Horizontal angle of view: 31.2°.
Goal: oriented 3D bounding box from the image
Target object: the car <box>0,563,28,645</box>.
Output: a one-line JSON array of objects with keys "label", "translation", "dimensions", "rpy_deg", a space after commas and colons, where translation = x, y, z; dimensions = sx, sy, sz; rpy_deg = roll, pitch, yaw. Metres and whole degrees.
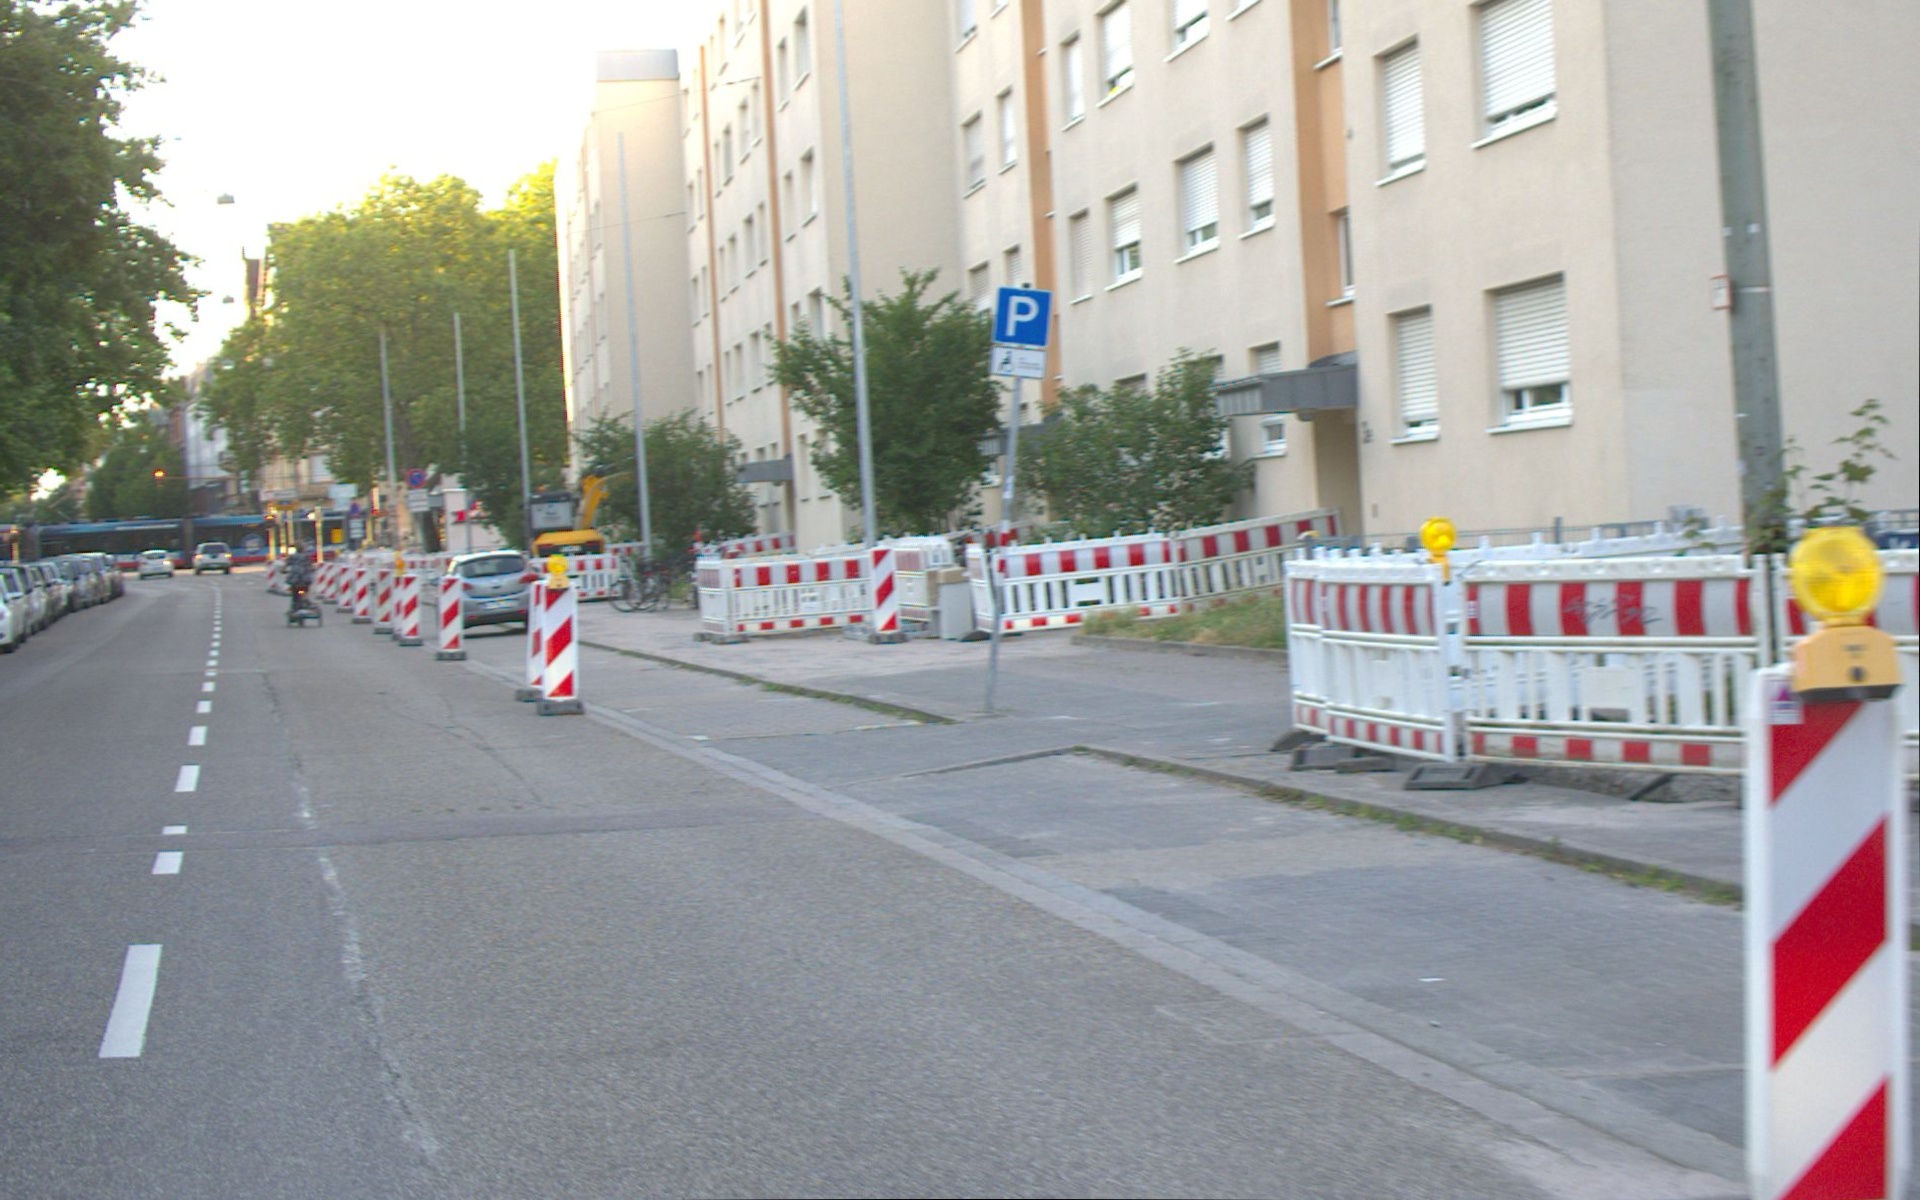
[{"label": "car", "translation": [-18.167, 0.126, 62.977], "dimensions": [1.756, 1.438, 3.455], "rpy_deg": [-6, 2, -11]}]

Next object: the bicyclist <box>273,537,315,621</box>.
[{"label": "bicyclist", "translation": [-14.563, -0.465, 75.181], "dimensions": [0.791, 1.794, 1.017], "rpy_deg": [-3, 1, -11]}]

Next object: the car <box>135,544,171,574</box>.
[{"label": "car", "translation": [-43.313, -2.176, 184.505], "dimensions": [1.756, 1.438, 3.455], "rpy_deg": [-6, 2, -13]}]

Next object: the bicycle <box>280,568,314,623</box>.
[{"label": "bicycle", "translation": [-14.379, -0.107, 74.522], "dimensions": [0.641, 1.111, 3.056], "rpy_deg": [-3, 1, -11]}]

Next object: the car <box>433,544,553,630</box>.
[{"label": "car", "translation": [-8.390, -0.255, 61.531], "dimensions": [1.779, 1.385, 4.001], "rpy_deg": [-3, 1, -12]}]

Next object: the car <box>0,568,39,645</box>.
[{"label": "car", "translation": [-19.369, 0.175, 68.269], "dimensions": [1.756, 1.438, 3.455], "rpy_deg": [-6, 2, -11]}]

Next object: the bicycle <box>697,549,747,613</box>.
[{"label": "bicycle", "translation": [-4.244, -0.348, 61.247], "dimensions": [0.617, 1.103, 2.235], "rpy_deg": [-3, 1, -10]}]

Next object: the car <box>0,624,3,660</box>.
[{"label": "car", "translation": [-17.276, 0.414, 58.121], "dimensions": [1.756, 1.438, 3.455], "rpy_deg": [-6, 2, -11]}]

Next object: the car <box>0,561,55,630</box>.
[{"label": "car", "translation": [-21.785, -0.087, 78.640], "dimensions": [1.756, 1.438, 3.455], "rpy_deg": [-6, 2, -11]}]

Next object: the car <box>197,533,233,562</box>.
[{"label": "car", "translation": [-41.802, -2.915, 192.860], "dimensions": [1.694, 1.438, 3.455], "rpy_deg": [-6, 2, -15]}]

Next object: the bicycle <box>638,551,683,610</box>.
[{"label": "bicycle", "translation": [-5.824, -0.390, 66.773], "dimensions": [0.617, 1.103, 2.235], "rpy_deg": [-3, 1, -10]}]

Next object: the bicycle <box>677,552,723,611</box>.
[{"label": "bicycle", "translation": [-5.056, -0.370, 66.758], "dimensions": [0.617, 1.103, 2.235], "rpy_deg": [-3, 1, -10]}]

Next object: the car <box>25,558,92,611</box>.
[{"label": "car", "translation": [-27.420, -0.497, 104.687], "dimensions": [1.652, 1.438, 3.455], "rpy_deg": [-6, 2, -11]}]
